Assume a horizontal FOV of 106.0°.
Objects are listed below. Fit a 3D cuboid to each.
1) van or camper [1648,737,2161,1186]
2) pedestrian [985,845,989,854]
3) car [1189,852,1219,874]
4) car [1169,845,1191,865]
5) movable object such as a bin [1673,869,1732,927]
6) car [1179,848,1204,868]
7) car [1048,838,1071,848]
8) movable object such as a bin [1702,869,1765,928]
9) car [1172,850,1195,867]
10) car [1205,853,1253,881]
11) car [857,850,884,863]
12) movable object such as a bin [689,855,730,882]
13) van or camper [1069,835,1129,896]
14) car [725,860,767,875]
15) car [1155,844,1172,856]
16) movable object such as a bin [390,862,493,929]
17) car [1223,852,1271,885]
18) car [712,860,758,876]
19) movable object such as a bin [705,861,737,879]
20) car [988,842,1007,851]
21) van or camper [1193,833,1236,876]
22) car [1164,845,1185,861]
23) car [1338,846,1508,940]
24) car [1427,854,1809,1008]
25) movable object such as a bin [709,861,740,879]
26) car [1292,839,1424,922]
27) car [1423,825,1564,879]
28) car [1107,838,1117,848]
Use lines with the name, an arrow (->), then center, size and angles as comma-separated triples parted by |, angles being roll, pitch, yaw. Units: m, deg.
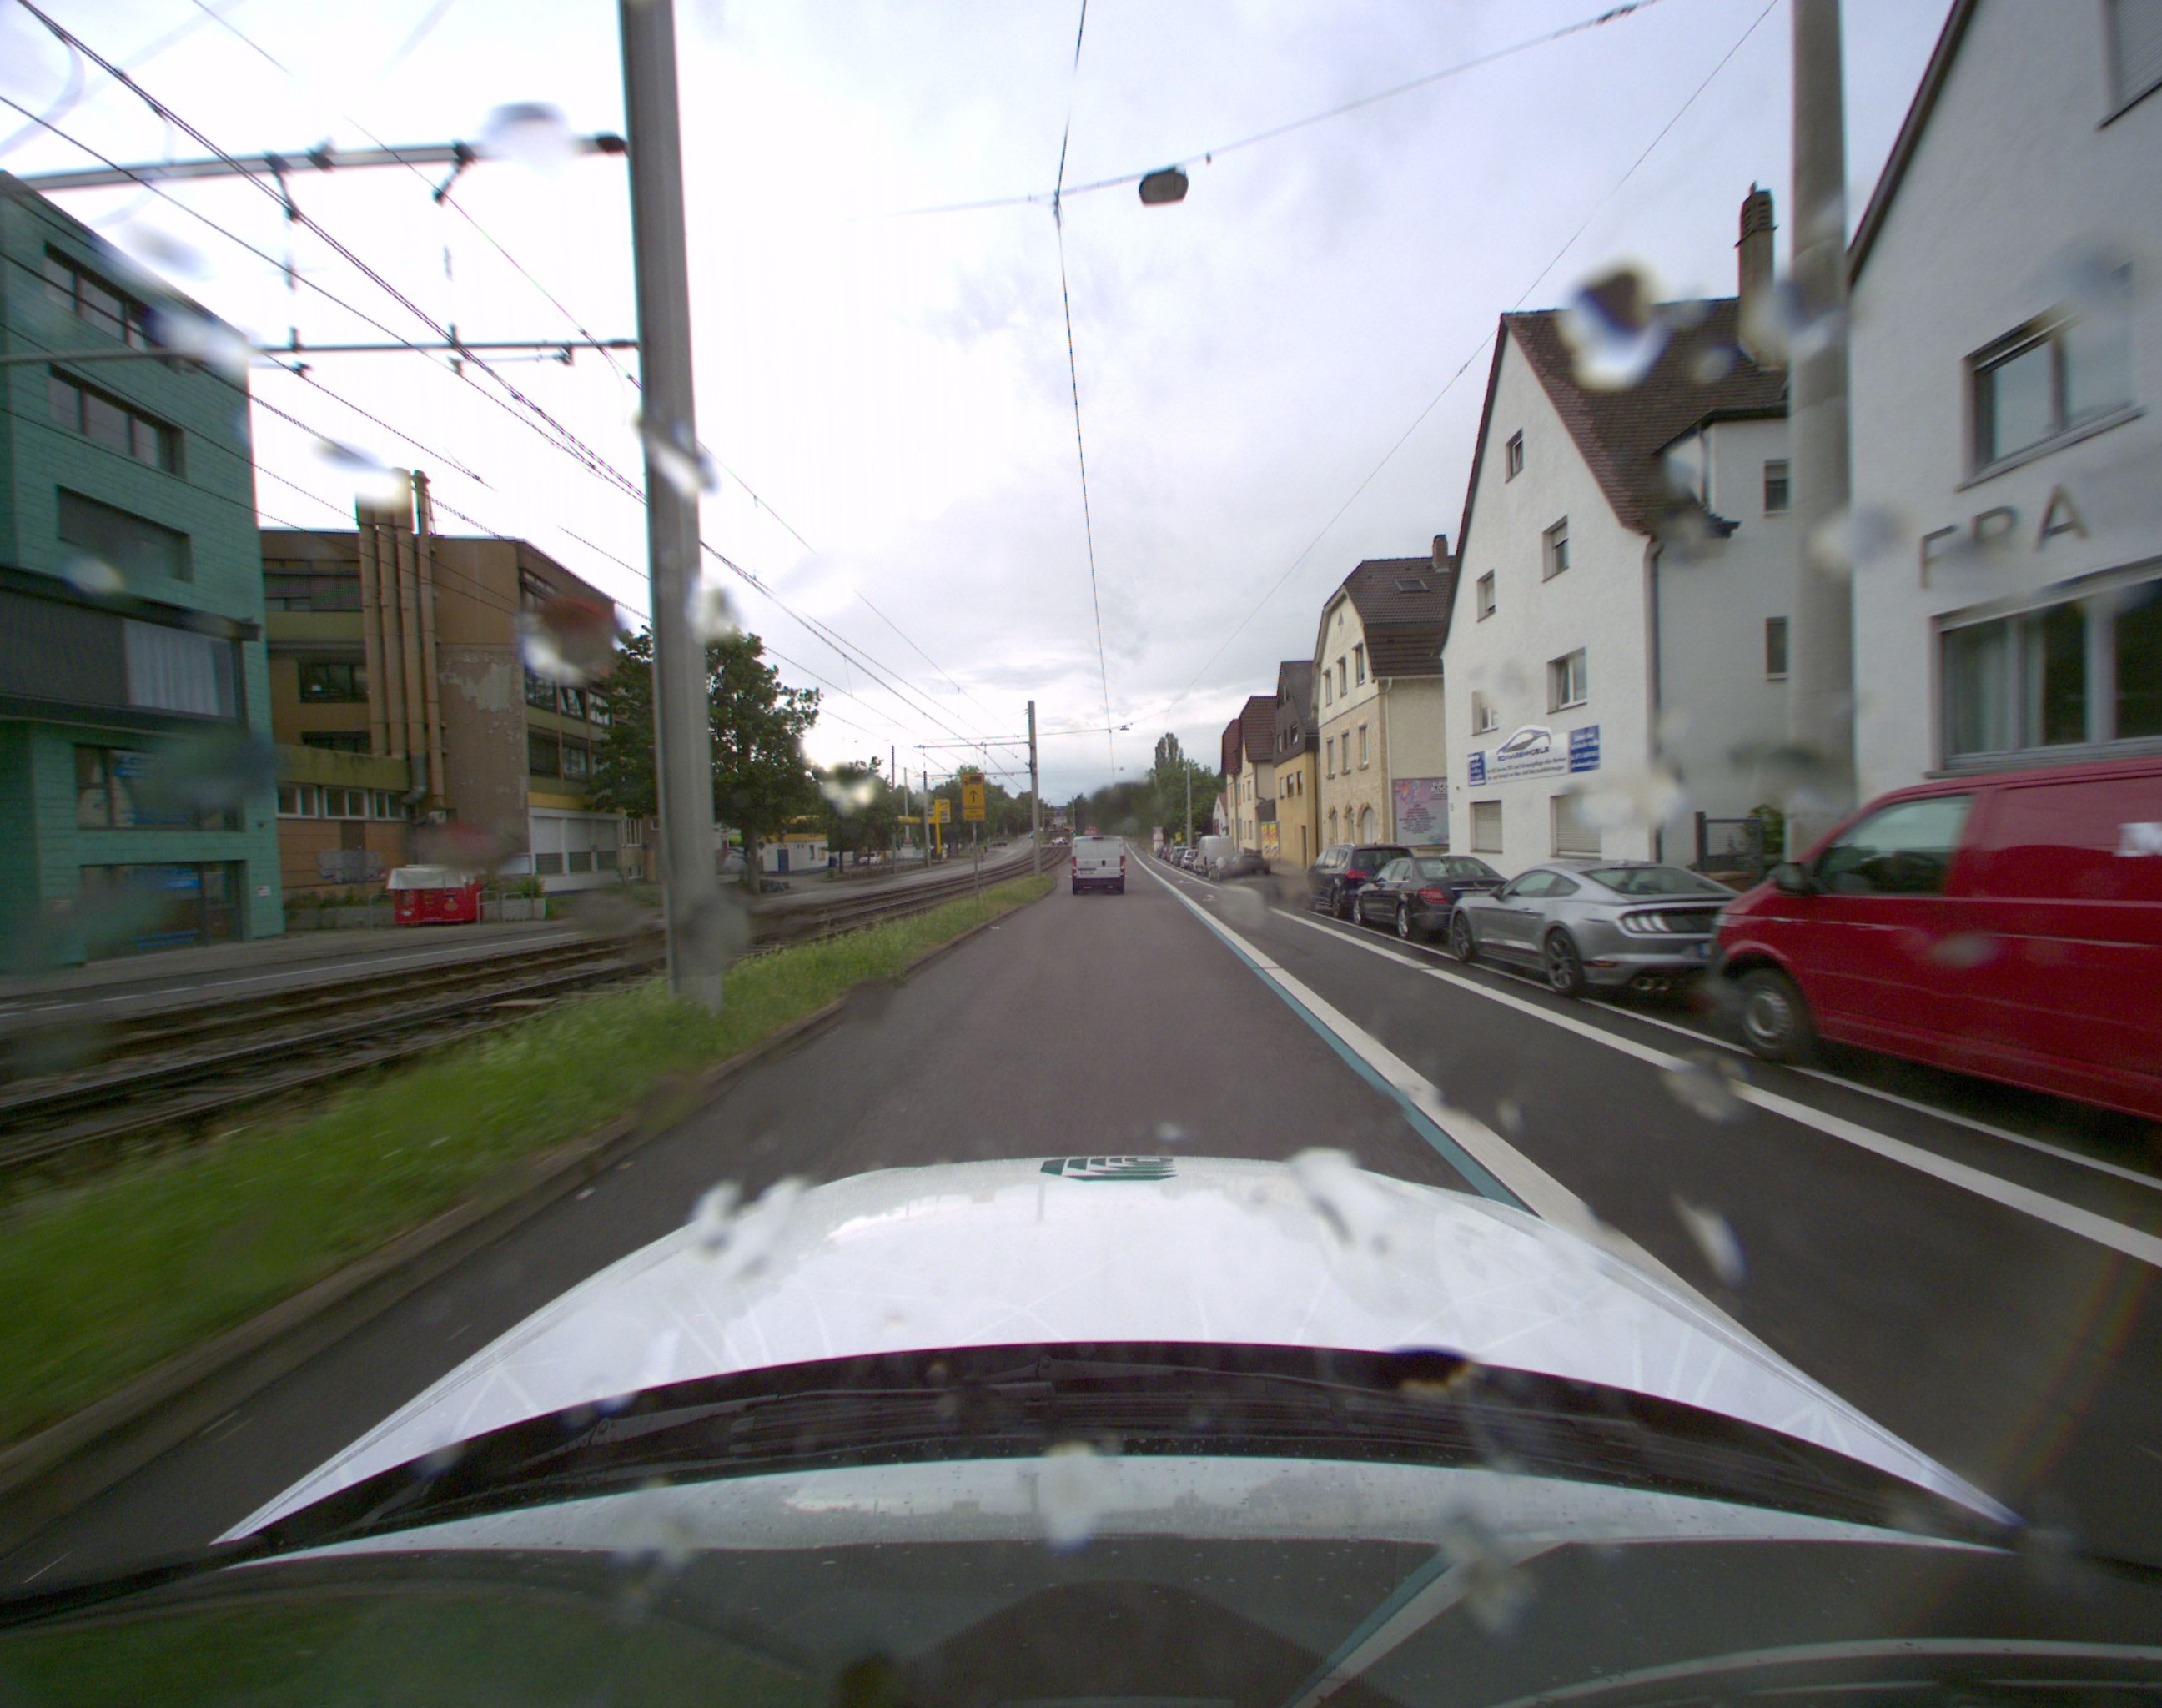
van or camper -> 5.566, 0.431, 4.272 | 1.843, 1.920, 4.998 | -2, 0, 3
pedestrian -> -16.475, -0.814, 142.339 | 0.612, 1.475, 0.640 | -2, 0, -12
car -> 8.752, 0.597, 58.051 | 1.702, 1.446, 4.043 | 0, 1, 2
car -> 9.609, 0.094, 79.139 | 1.741, 1.807, 3.955 | 0, 1, 1
movable object such as a bin -> 10.045, 0.704, 13.168 | 0.584, 0.879, 0.448 | -2, 0, 1
car -> 9.155, 0.309, 67.950 | 1.640, 1.615, 4.106 | 0, 1, 2
car -> -4.604, -2.308, 175.493 | 4.473, 2.014, 2.011 | 0, 0, 23
movable object such as a bin -> 10.163, 0.689, 12.696 | 0.584, 0.879, 0.448 | -2, 0, 1
car -> 9.244, 0.388, 73.657 | 1.640, 1.446, 3.956 | 0, 1, 2
car -> 8.130, 0.696, 45.079 | 1.783, 1.406, 4.550 | 0, 1, -1
car -> -23.059, 0.253, 89.282 | 1.987, 1.442, 3.999 | 0, 0, 0
movable object such as a bin -> -28.461, 1.091, 62.528 | 1.993, 1.919, 3.560 | 0, 1, -9
van or camper -> 0.643, 0.426, 32.658 | 2.193, 2.252, 4.681 | 0, 0, -1
car -> -32.668, 1.284, 79.429 | 3.781, 1.479, 1.563 | 0, 0, -24
car -> 10.320, -0.485, 102.376 | 1.841, 1.499, 3.955 | 0, 0, 1
movable object such as a bin -> -21.911, 1.392, 27.978 | 2.131, 2.157, 1.798 | 0, 1, -7
car -> 7.952, 0.664, 39.260 | 1.561, 1.498, 3.511 | 0, 0, -1
car -> -31.432, 1.276, 74.079 | 3.781, 1.453, 1.540 | 0, 0, -24
movable object such as a bin -> -28.952, 1.307, 65.499 | 1.993, 1.375, 1.565 | 0, 1, -10
car -> -18.443, -1.707, 179.095 | 3.978, 1.849, 1.998 | -2, 0, -4
van or camper -> 8.474, -0.018, 52.278 | 1.986, 2.563, 6.046 | 0, 1, 2
car -> 10.232, -0.138, 89.088 | 1.841, 1.645, 3.955 | 0, 1, 1
car -> 6.308, 0.636, 15.516 | 1.627, 1.538, 4.137 | 0, 0, 2
car -> 5.893, 0.711, 9.789 | 1.788, 1.376, 4.676 | -1, 0, 5
movable object such as a bin -> -29.386, 1.310, 67.197 | 1.993, 1.375, 1.565 | 0, 1, -10
car -> 6.677, 0.583, 20.179 | 1.832, 1.800, 4.688 | 0, 0, 2
car -> 14.356, -0.076, 28.490 | 3.974, 1.653, 1.870 | -3, 1, 0
car -> 6.068, -2.187, 161.263 | 1.986, 2.013, 4.001 | 0, 0, 2
